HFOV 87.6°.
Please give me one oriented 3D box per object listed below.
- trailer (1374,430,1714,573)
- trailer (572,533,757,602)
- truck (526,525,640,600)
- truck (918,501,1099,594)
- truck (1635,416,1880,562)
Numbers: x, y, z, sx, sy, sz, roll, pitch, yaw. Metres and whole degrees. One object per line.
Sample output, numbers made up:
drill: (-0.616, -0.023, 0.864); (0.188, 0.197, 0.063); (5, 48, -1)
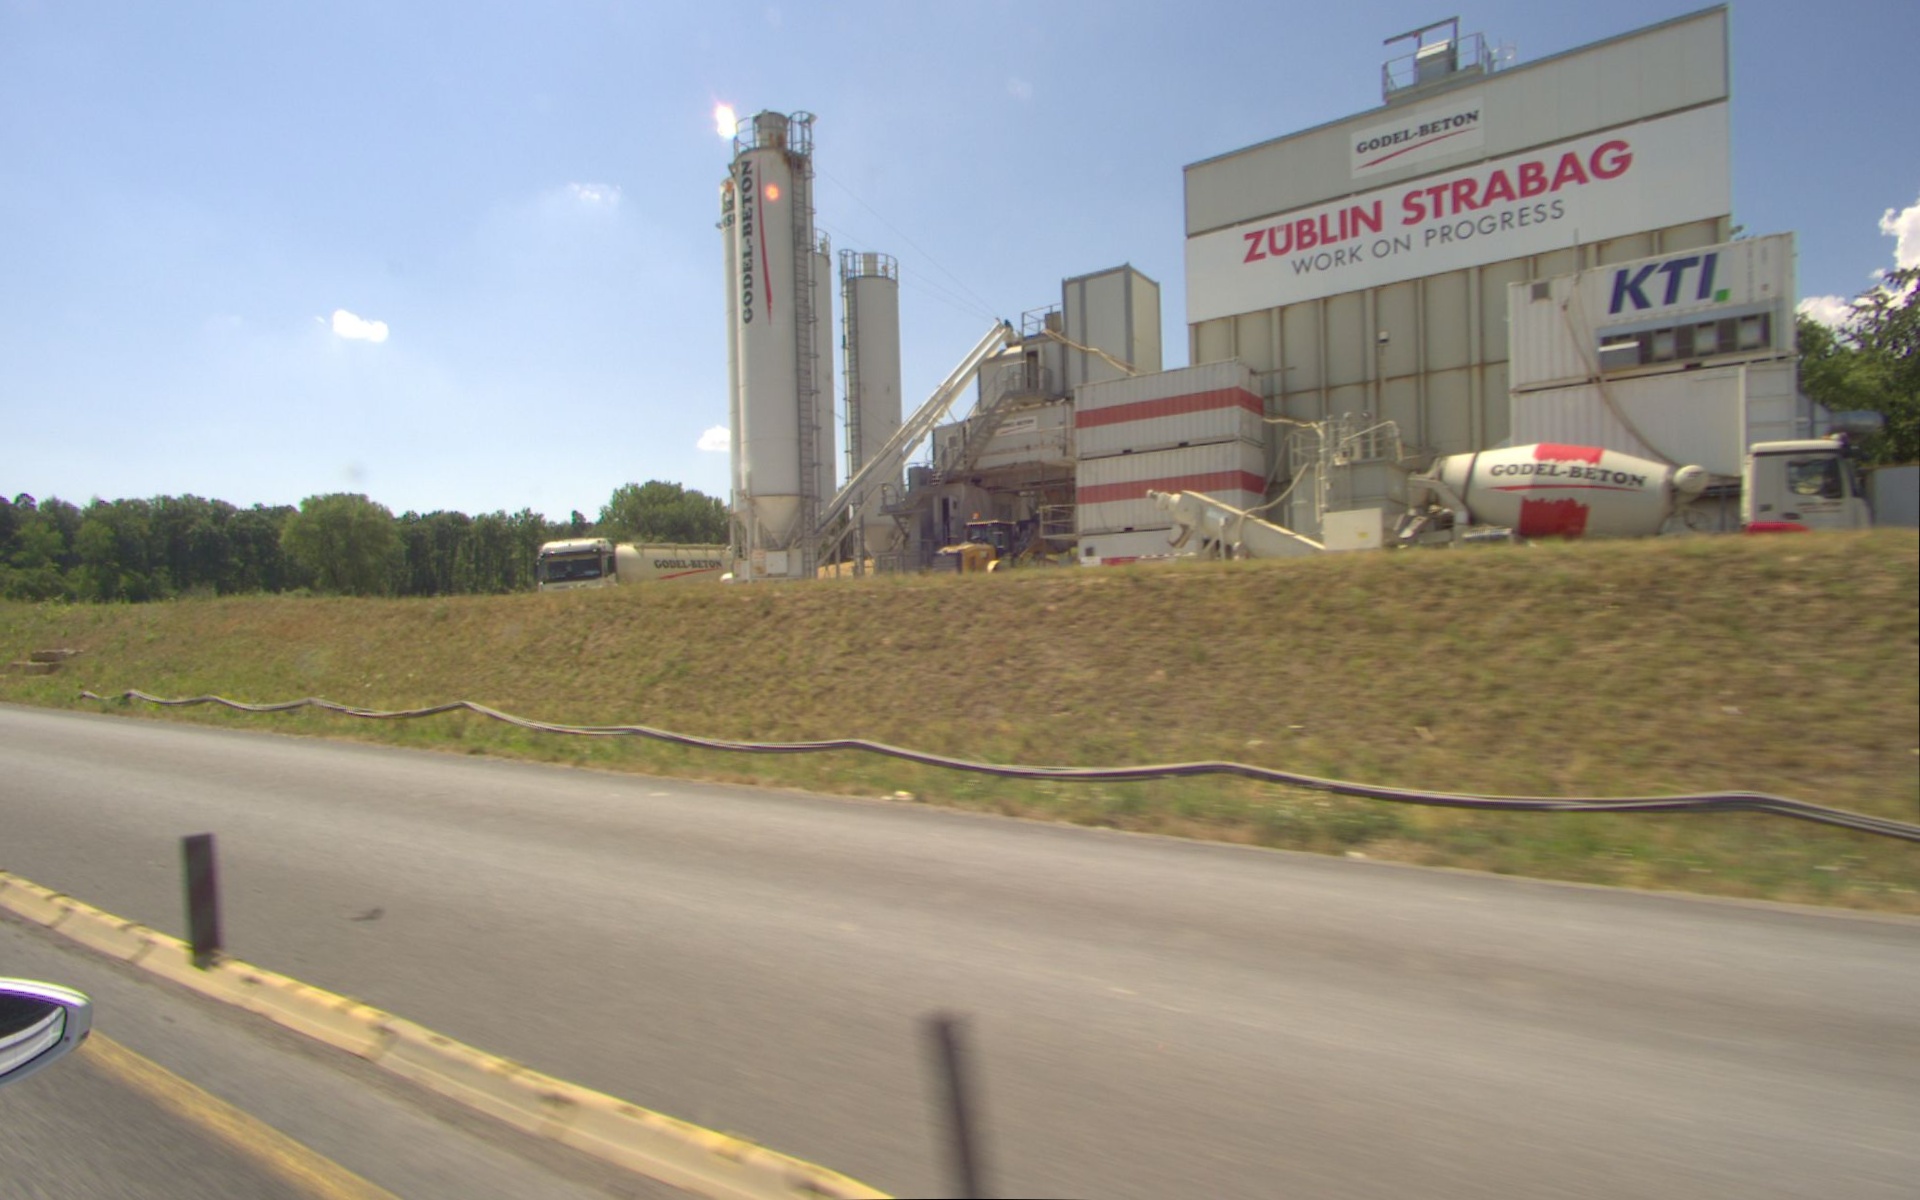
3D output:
trailer: (13.821, -2.182, 24.137); (6.845, 2.678, 1.988); (-1, -2, 36)
trailer: (-12.946, -1.317, 44.960); (2.426, 2.640, 8.888); (-1, -1, 28)
truck: (-14.778, -1.372, 39.679); (2.849, 2.576, 5.310); (0, -2, -4)
truck: (2.161, -1.861, 39.286); (2.429, 2.904, 9.041); (-1, -2, 38)
truck: (17.106, -2.268, 21.770); (3.988, 2.577, 2.011); (-1, -2, 36)
